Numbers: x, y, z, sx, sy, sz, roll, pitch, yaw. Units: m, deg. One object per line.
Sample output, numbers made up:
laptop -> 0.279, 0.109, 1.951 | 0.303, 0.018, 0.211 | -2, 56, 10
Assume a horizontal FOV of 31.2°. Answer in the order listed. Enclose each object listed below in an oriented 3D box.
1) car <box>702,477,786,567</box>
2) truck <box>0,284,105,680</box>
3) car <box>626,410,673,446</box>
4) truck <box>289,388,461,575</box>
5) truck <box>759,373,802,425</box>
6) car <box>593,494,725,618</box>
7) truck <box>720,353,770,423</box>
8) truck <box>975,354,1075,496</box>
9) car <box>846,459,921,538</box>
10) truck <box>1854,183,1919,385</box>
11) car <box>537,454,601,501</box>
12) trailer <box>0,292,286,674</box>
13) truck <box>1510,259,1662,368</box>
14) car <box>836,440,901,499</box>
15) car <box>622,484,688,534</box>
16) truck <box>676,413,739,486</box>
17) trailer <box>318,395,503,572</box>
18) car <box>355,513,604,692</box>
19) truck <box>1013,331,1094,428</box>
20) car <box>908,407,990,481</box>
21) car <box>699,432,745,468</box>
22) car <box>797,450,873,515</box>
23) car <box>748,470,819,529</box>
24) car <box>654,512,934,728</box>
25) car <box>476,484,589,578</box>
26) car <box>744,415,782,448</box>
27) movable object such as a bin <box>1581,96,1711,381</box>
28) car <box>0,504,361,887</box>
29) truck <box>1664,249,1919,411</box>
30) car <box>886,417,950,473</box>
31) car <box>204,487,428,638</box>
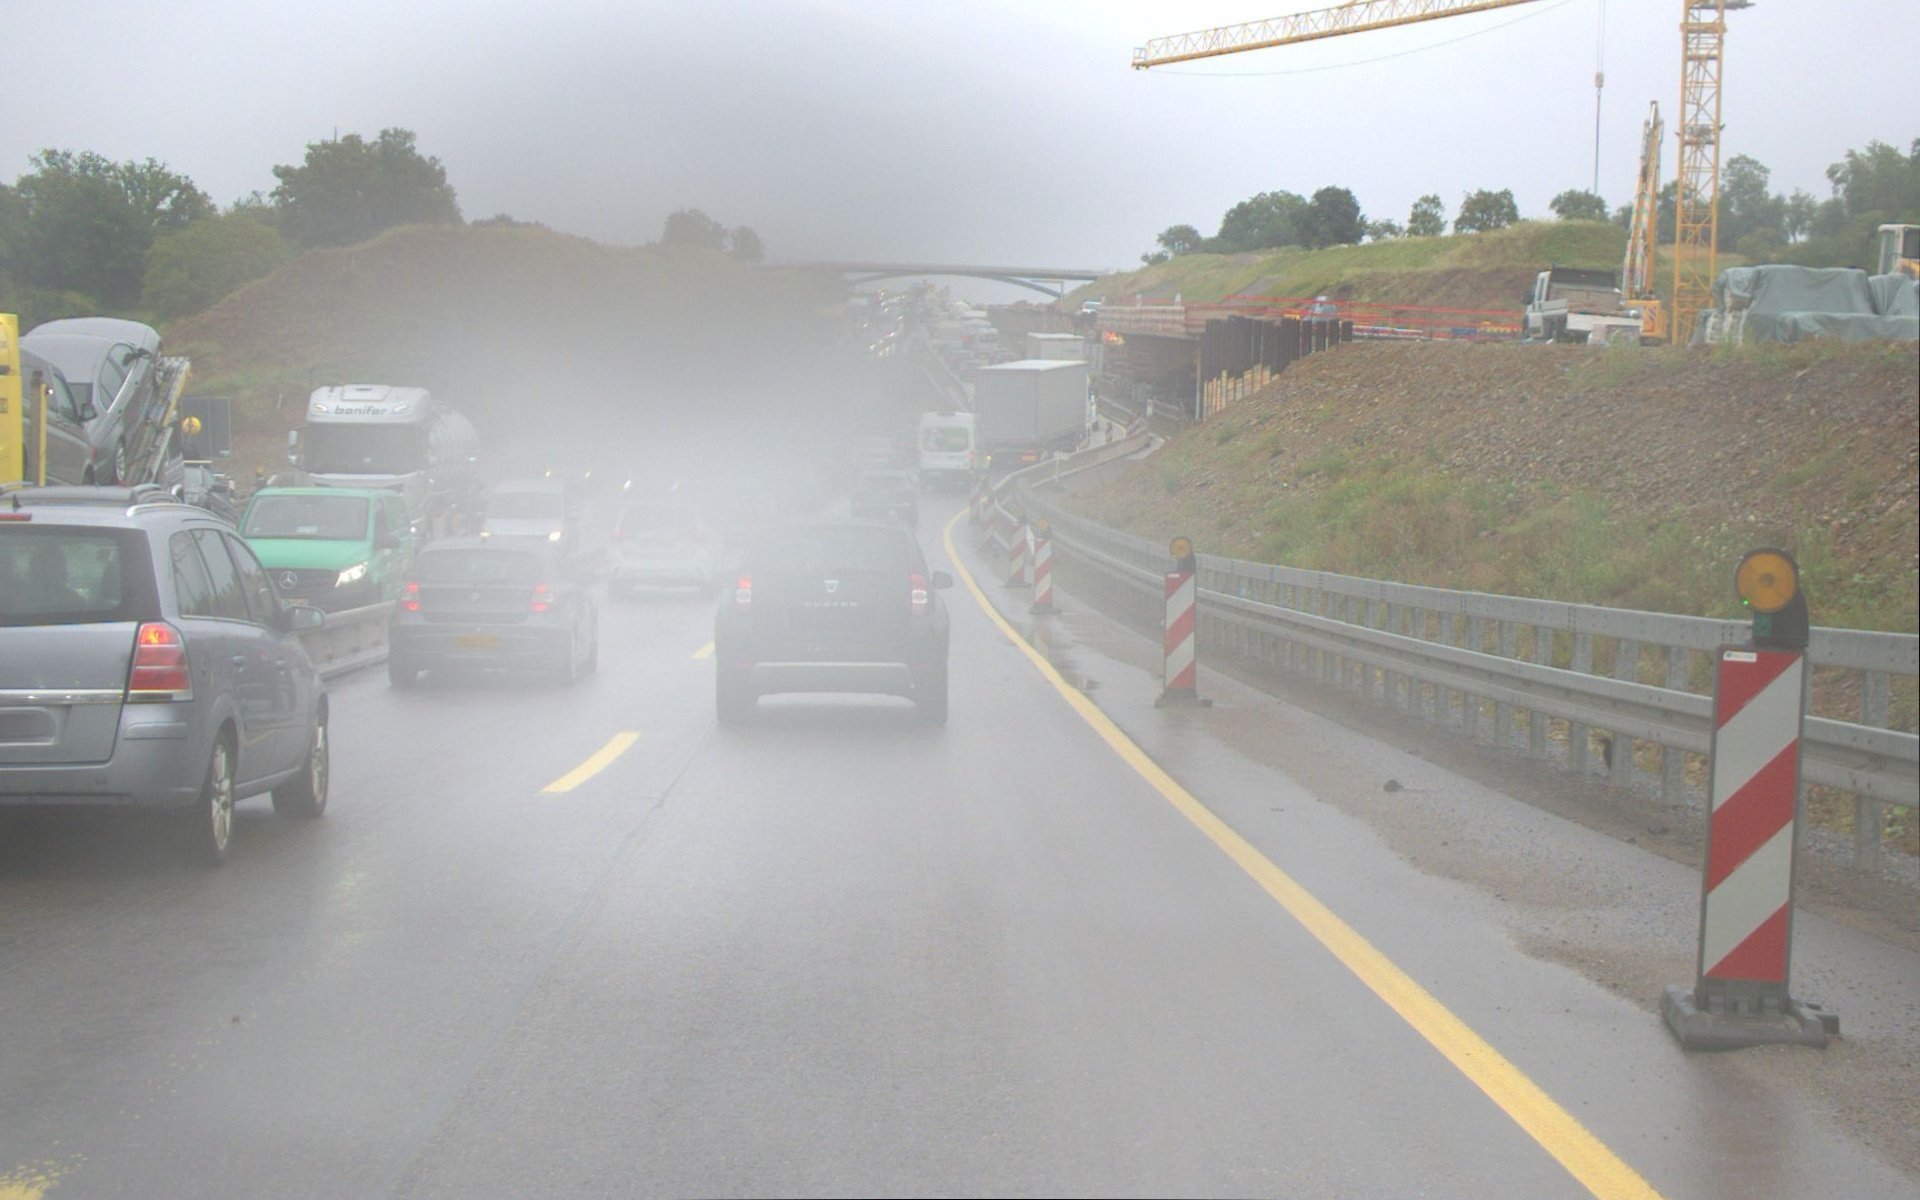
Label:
car -> -5.370, -1.938, 85.158 | 1.993, 2.155, 4.141 | 1, 1, -4
truck -> -11.235, -1.261, 36.725 | 2.749, 4.048, 6.149 | 1, 1, -1
car -> -13.817, -7.666, 153.126 | 1.786, 1.533, 4.312 | 0, 2, -1
truck -> -12.046, -2.439, 71.286 | 2.620, 3.665, 6.596 | 1, 2, -2
truck -> -9.681, -10.817, 185.577 | 2.147, 2.704, 6.017 | 1, 3, -2
car -> -5.061, -0.761, 58.184 | 1.993, 2.007, 3.894 | 1, 1, -2
truck -> -12.564, -12.422, 201.274 | 2.641, 3.956, 9.216 | 1, 4, -2
truck -> 2.697, -6.963, 138.602 | 3.102, 5.407, 9.441 | 1, 1, 6
car -> -2.125, -2.837, 96.421 | 1.993, 2.155, 4.141 | 1, 1, 0
truck -> 21.989, -7.004, 76.566 | 2.373, 4.203, 5.980 | 1, 1, -2
car -> -13.127, -4.132, 115.638 | 1.787, 1.541, 4.001 | 1, 2, -2
trailer -> -11.364, -1.433, 43.924 | 2.749, 4.028, 15.361 | 1, 1, -1
truck -> 17.144, -7.833, 94.605 | 2.645, 2.546, 6.986 | 1, 1, -2
car -> -3.455, -4.962, 131.024 | 1.994, 2.155, 4.140 | 1, 1, 5
car -> -9.535, -2.862, 107.693 | 1.772, 1.499, 4.680 | 0, 2, -2
truck -> -9.445, -5.603, 128.864 | 2.078, 2.567, 5.963 | 1, 1, -2
trailer -> -12.285, -2.604, 77.888 | 2.620, 3.665, 12.006 | 1, 2, -2
car -> -4.562, -0.028, 33.197 | 1.993, 1.595, 4.141 | 1, 1, -3
truck -> 5.334, -12.630, 198.717 | 3.803, 5.025, 12.923 | 1, 1, -2
car -> -0.348, -5.426, 120.094 | 1.994, 2.475, 4.980 | 1, 1, 10
car -> -10.237, -6.450, 147.965 | 1.786, 1.533, 4.312 | 0, 2, -1
car -> -4.251, -3.997, 117.498 | 1.994, 2.155, 4.140 | 1, 1, 6
car -> -5.437, -3.085, 106.064 | 1.993, 1.755, 3.815 | 1, 1, 0
car -> -1.269, 0.103, 27.897 | 2.081, 1.595, 4.141 | 1, 1, -1
car -> -8.554, -1.401, 69.062 | 1.865, 1.793, 4.163 | 1, 2, -2
car -> -9.330, -7.995, 163.141 | 1.676, 1.518, 4.346 | 0, 3, -2
movable object such as a bin -> 28.317, -14.649, 141.519 | 4.721, 10.804, 10.298 | 1, 1, 13
car -> -4.214, 0.344, 16.456 | 1.993, 1.595, 4.141 | 1, 1, -1
truck -> 17.385, -5.558, 72.124 | 3.395, 2.865, 8.960 | 1, 1, 0
car -> -1.701, -6.333, 140.931 | 1.994, 2.155, 4.139 | 1, 1, 8
car -> -7.963, -0.507, 42.902 | 1.993, 1.753, 4.688 | 1, 2, -1
